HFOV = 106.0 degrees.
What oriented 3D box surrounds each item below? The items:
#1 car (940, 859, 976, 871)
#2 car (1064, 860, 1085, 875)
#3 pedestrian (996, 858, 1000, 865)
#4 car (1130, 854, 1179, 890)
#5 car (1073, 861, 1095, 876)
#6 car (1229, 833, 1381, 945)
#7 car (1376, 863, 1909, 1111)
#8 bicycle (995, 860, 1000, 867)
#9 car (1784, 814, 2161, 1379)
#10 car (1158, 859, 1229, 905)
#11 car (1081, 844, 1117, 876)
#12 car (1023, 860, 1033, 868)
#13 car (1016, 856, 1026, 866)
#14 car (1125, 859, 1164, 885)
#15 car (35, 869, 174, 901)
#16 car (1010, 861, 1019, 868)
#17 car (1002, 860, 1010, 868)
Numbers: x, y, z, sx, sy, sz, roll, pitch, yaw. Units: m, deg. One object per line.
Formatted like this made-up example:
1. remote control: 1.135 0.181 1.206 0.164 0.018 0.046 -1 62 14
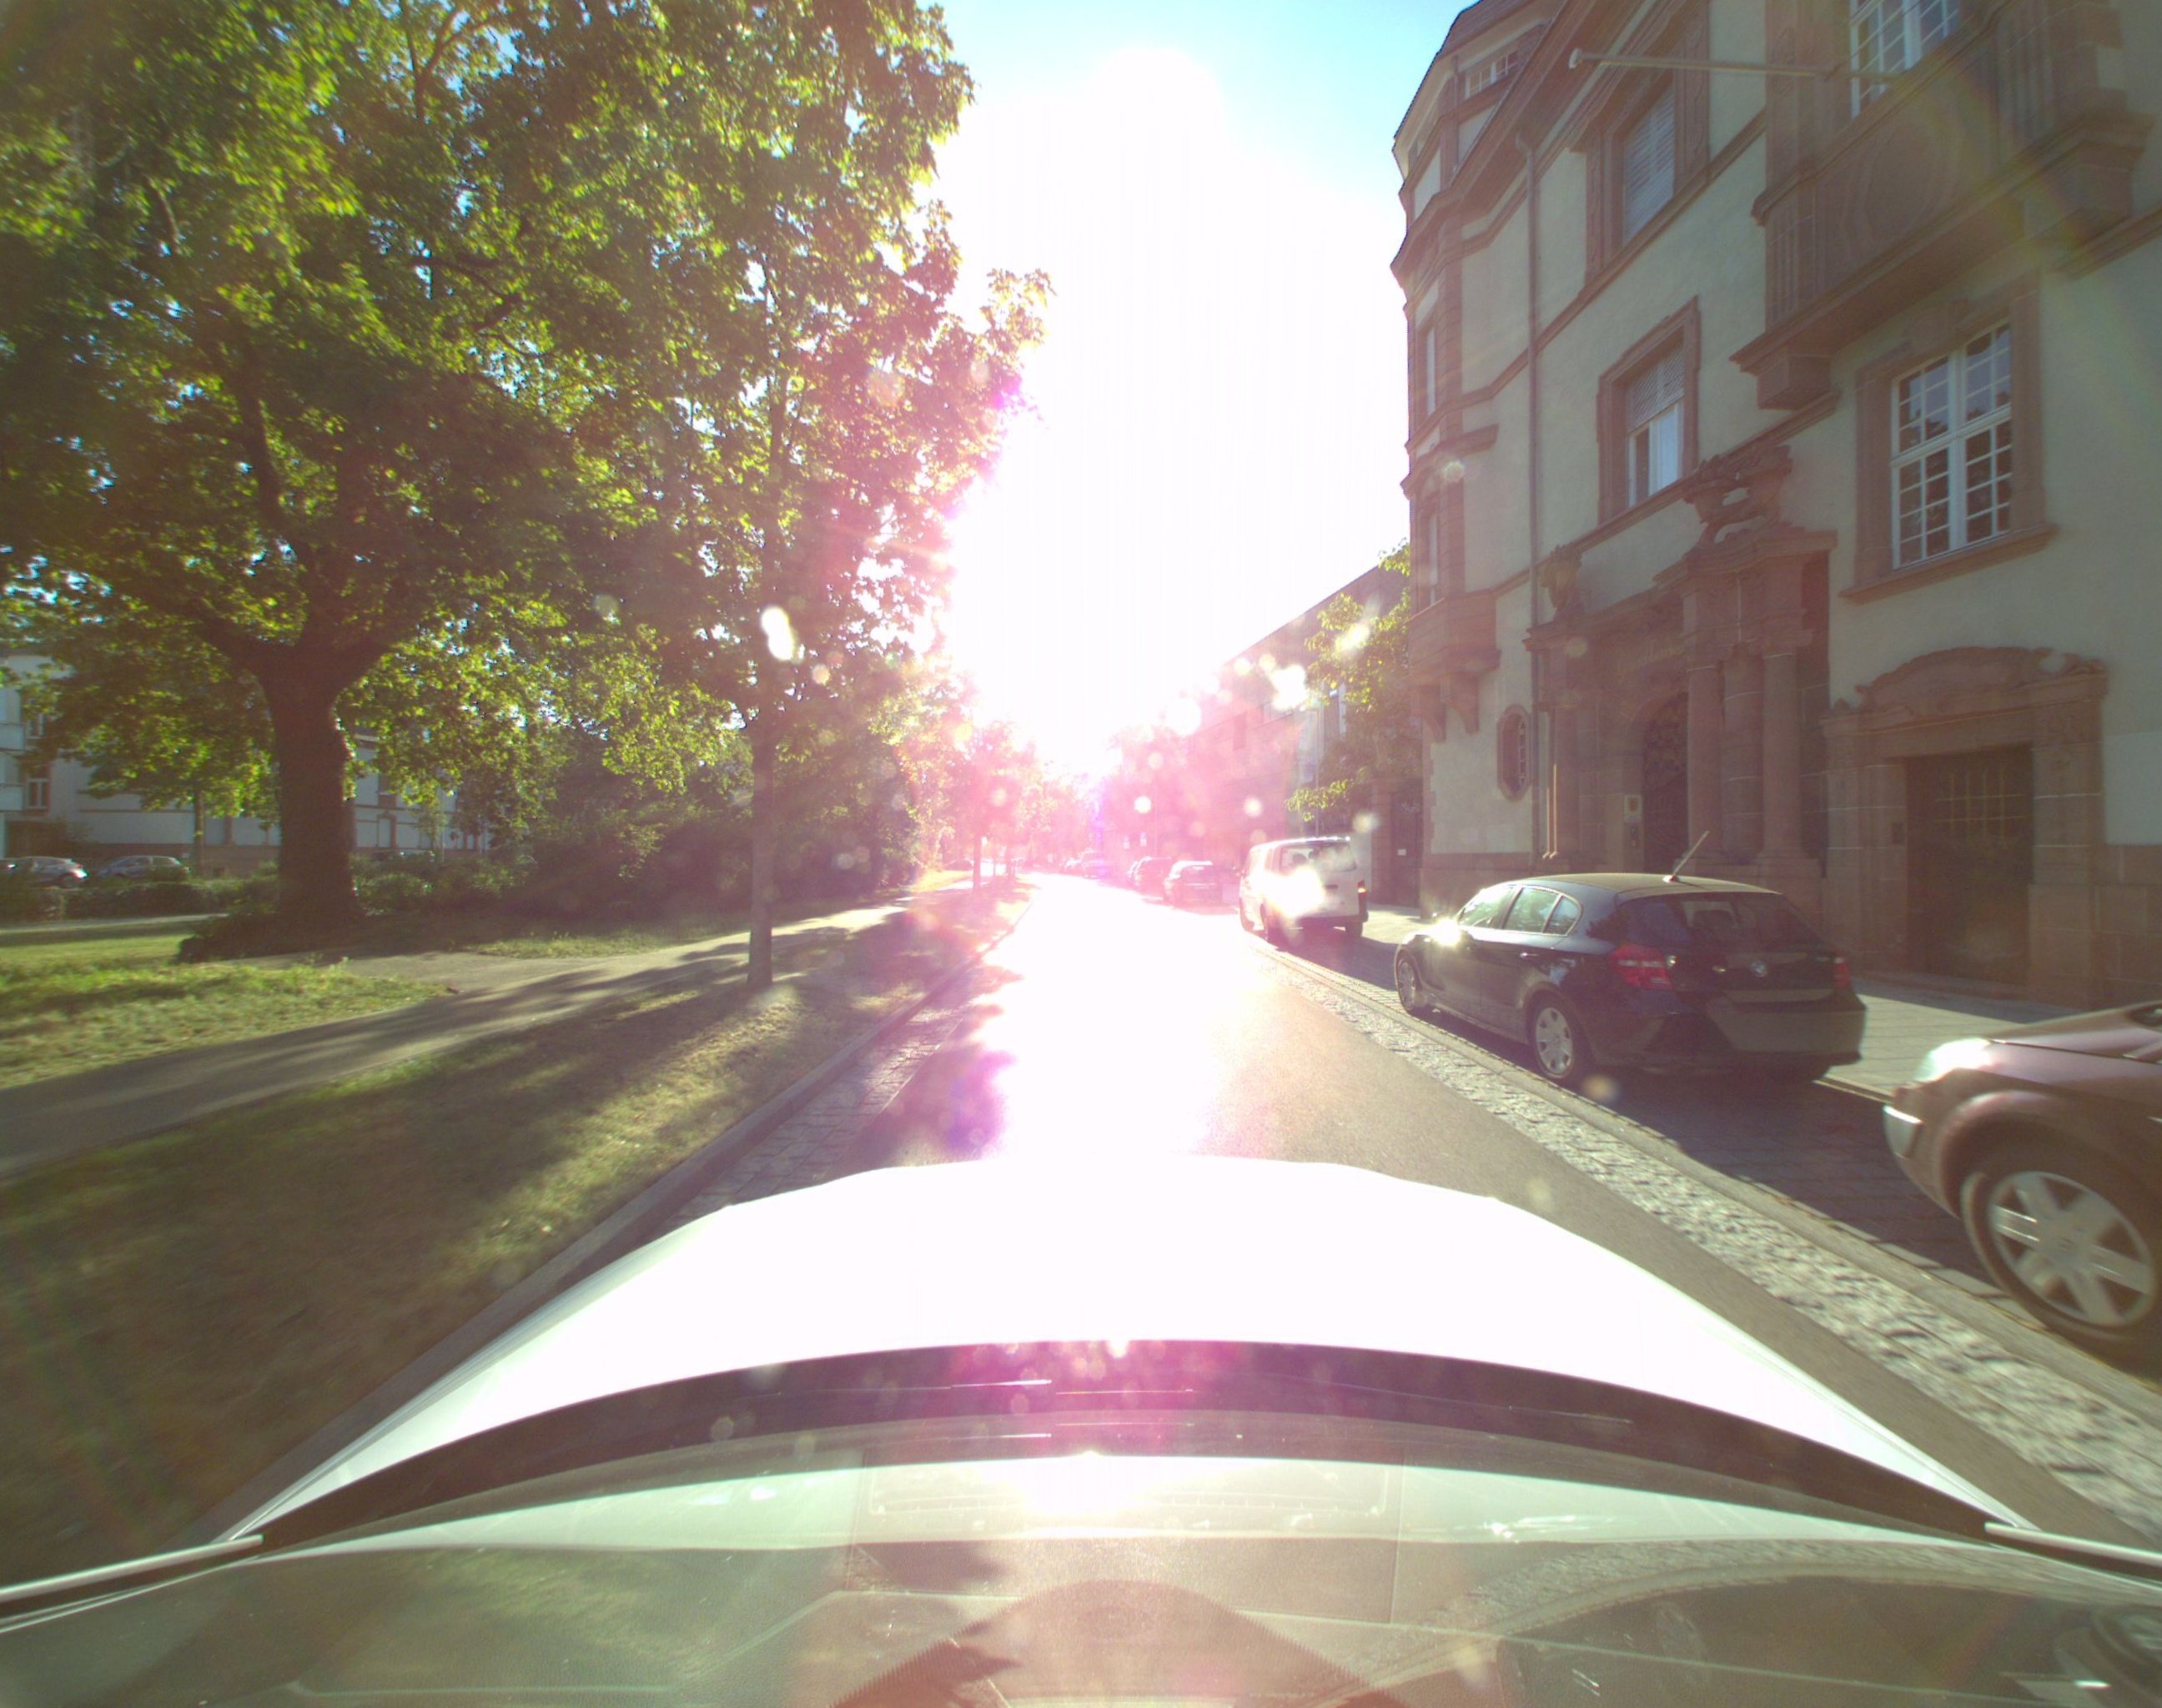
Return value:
1. car: -14.953 1.345 98.905 4.015 1.420 1.753 1 -1 -34
2. car: -0.707 1.399 85.110 1.689 1.440 4.093 0 0 -8
3. pedestrian: -15.703 1.421 153.186 0.687 1.434 1.023 1 1 -4
4. car: 3.517 0.844 39.773 1.721 1.669 4.108 -1 0 -4
5. car: 0.258 1.376 79.811 1.689 1.440 3.541 0 0 -8
6. car: 4.556 0.630 17.375 1.986 1.966 4.852 -3 0 2
7. car: 4.042 0.800 6.871 1.673 1.403 4.201 -1 -1 2
8. bicycle: -15.708 1.794 152.957 0.687 1.202 2.340 1 1 -3
9. car: 3.960 0.664 1.430 1.810 1.602 4.191 -1 -1 0
10. car: 3.964 0.944 29.485 1.743 1.466 4.473 -3 0 -2
11. car: 1.449 0.511 68.811 2.209 2.530 6.134 -2 0 -6
12. car: -9.274 1.744 143.278 1.790 1.510 3.995 1 0 -4
13. car: -11.504 1.334 156.941 1.791 1.724 3.991 1 -1 -6
14. car: 3.515 0.982 45.842 1.720 1.421 3.902 -1 0 -3
15. car: -44.964 1.399 37.646 1.627 1.315 3.863 2 -1 2
16. car: -14.143 2.198 172.183 1.791 1.510 3.991 1 0 -6
17. car: -19.212 2.445 208.671 1.791 1.999 3.991 1 -1 -6
